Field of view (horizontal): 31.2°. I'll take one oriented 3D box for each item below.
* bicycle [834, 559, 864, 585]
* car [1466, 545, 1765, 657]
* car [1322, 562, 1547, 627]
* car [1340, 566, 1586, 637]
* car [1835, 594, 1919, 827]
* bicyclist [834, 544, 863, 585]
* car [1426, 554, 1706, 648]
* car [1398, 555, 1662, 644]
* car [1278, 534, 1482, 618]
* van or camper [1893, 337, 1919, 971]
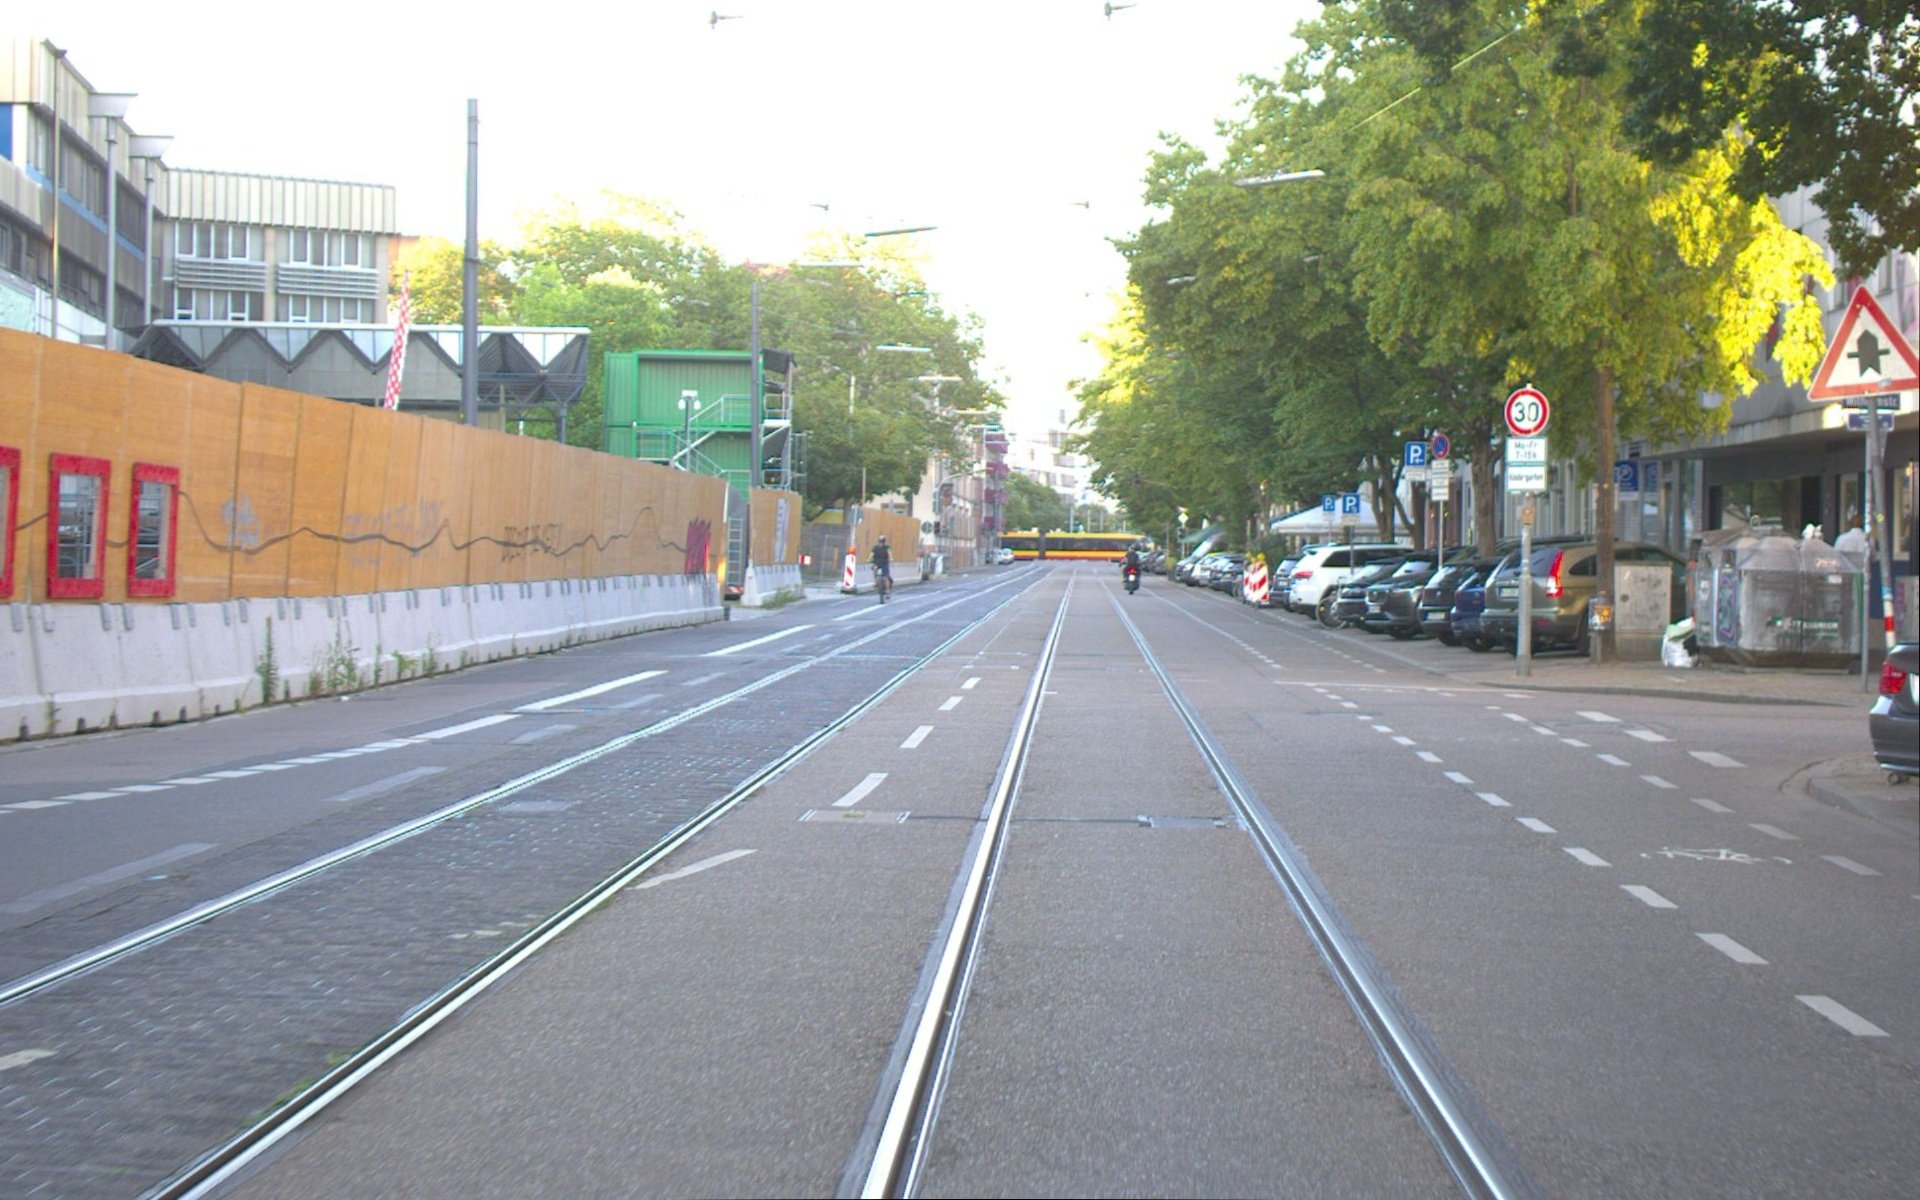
[{"bbox_3d":[-3.762,-0.944,116.952,0.948,0.846,2.697,1,1,-1],"label":"bicycle"},{"bbox_3d":[9.562,0.007,50.197,3.940,1.573,1.635,0,1,-13],"label":"car"},{"bbox_3d":[9.055,-0.107,65.705,3.941,1.171,1.635,1,1,-12],"label":"car"},{"bbox_3d":[8.846,0.024,60.485,3.940,1.171,1.635,0,1,-13],"label":"car"},{"bbox_3d":[7.149,0.562,20.572,3.769,1.305,1.655,-3,1,-36],"label":"car"},{"bbox_3d":[-3.754,-1.198,116.124,0.944,1.341,1.111,1,1,-1],"label":"bicyclist"},{"bbox_3d":[9.393,0.015,53.366,3.940,1.401,1.635,0,1,-13],"label":"car"},{"bbox_3d":[9.364,-0.013,56.600,3.940,1.401,1.635,0,1,-13],"label":"car"},{"bbox_3d":[8.840,-0.513,72.472,3.941,1.716,1.635,1,1,-12],"label":"car"},{"bbox_3d":[6.657,0.096,14.308,5.532,2.522,2.087,-3,1,-32],"label":"van or camper"}]
